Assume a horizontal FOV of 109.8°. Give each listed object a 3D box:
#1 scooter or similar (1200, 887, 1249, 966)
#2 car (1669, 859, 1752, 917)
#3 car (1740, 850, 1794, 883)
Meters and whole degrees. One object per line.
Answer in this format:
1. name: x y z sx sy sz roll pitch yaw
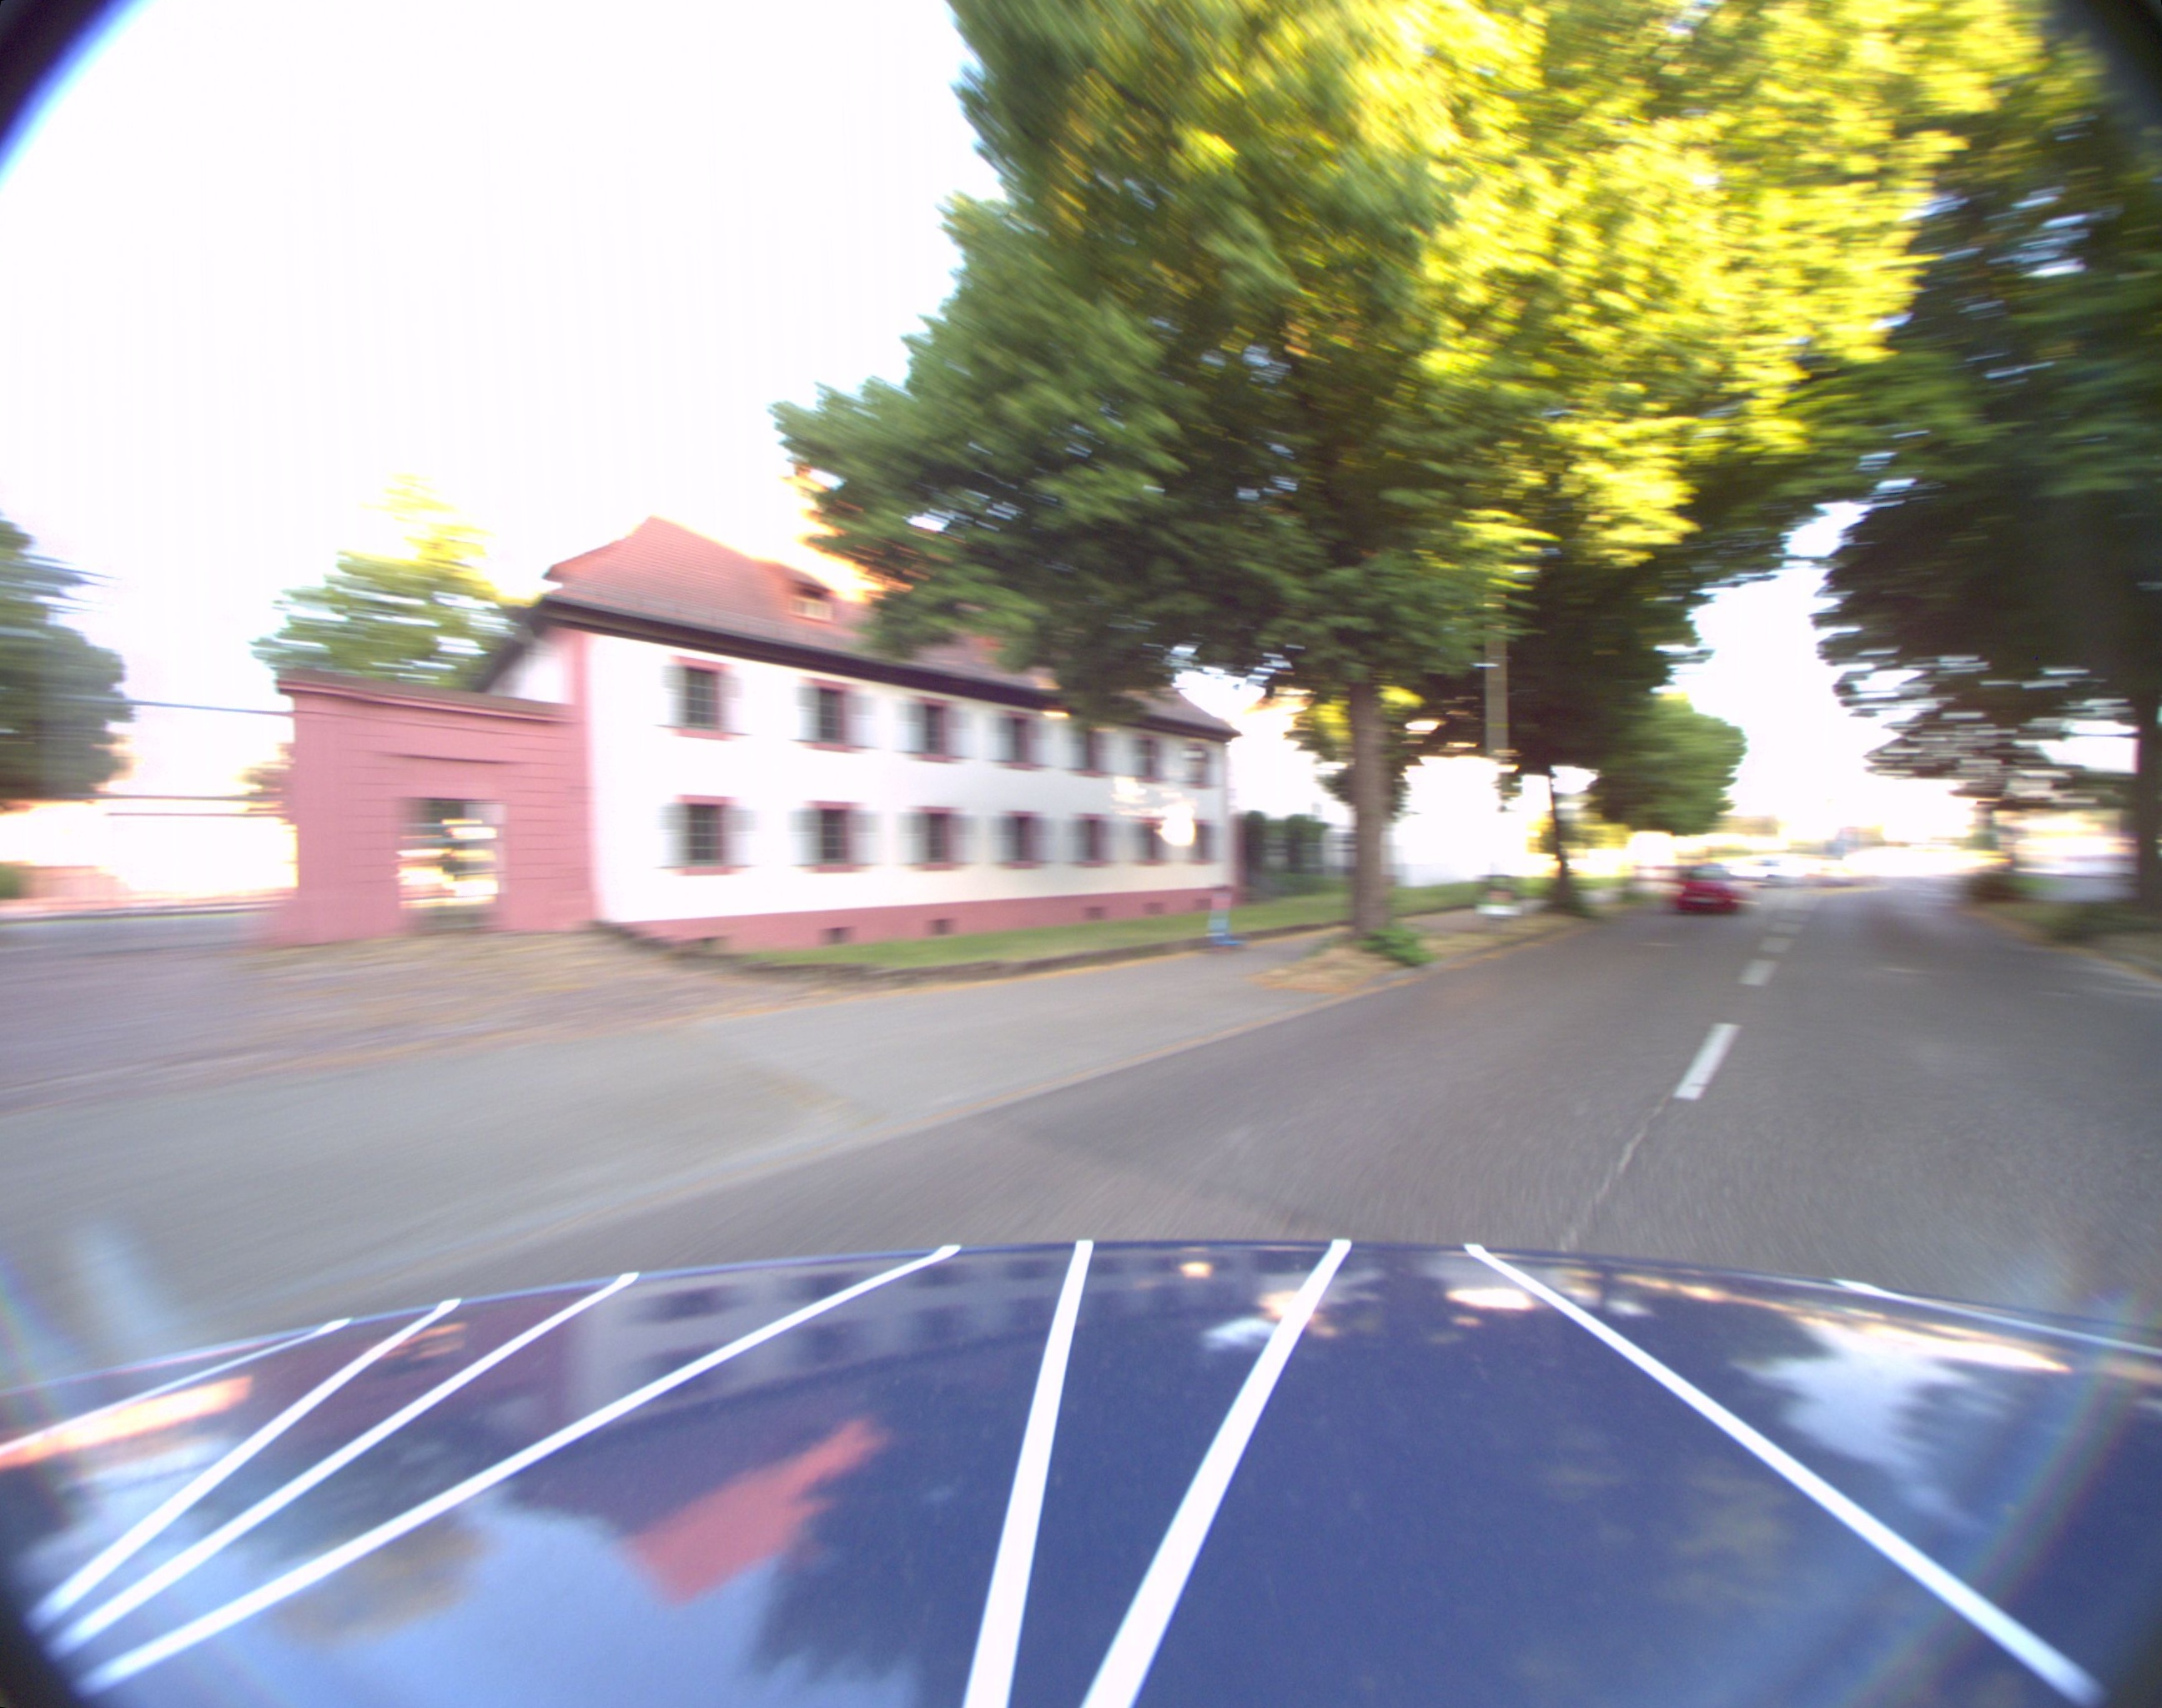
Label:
1. scooter or similar: 2.559 1.260 13.516 0.239 1.268 1.269 -2 0 39
2. car: 18.611 0.963 22.386 1.615 1.404 4.419 -4 -1 42
3. car: 36.627 0.642 40.514 4.418 1.547 1.787 -3 -1 -44
